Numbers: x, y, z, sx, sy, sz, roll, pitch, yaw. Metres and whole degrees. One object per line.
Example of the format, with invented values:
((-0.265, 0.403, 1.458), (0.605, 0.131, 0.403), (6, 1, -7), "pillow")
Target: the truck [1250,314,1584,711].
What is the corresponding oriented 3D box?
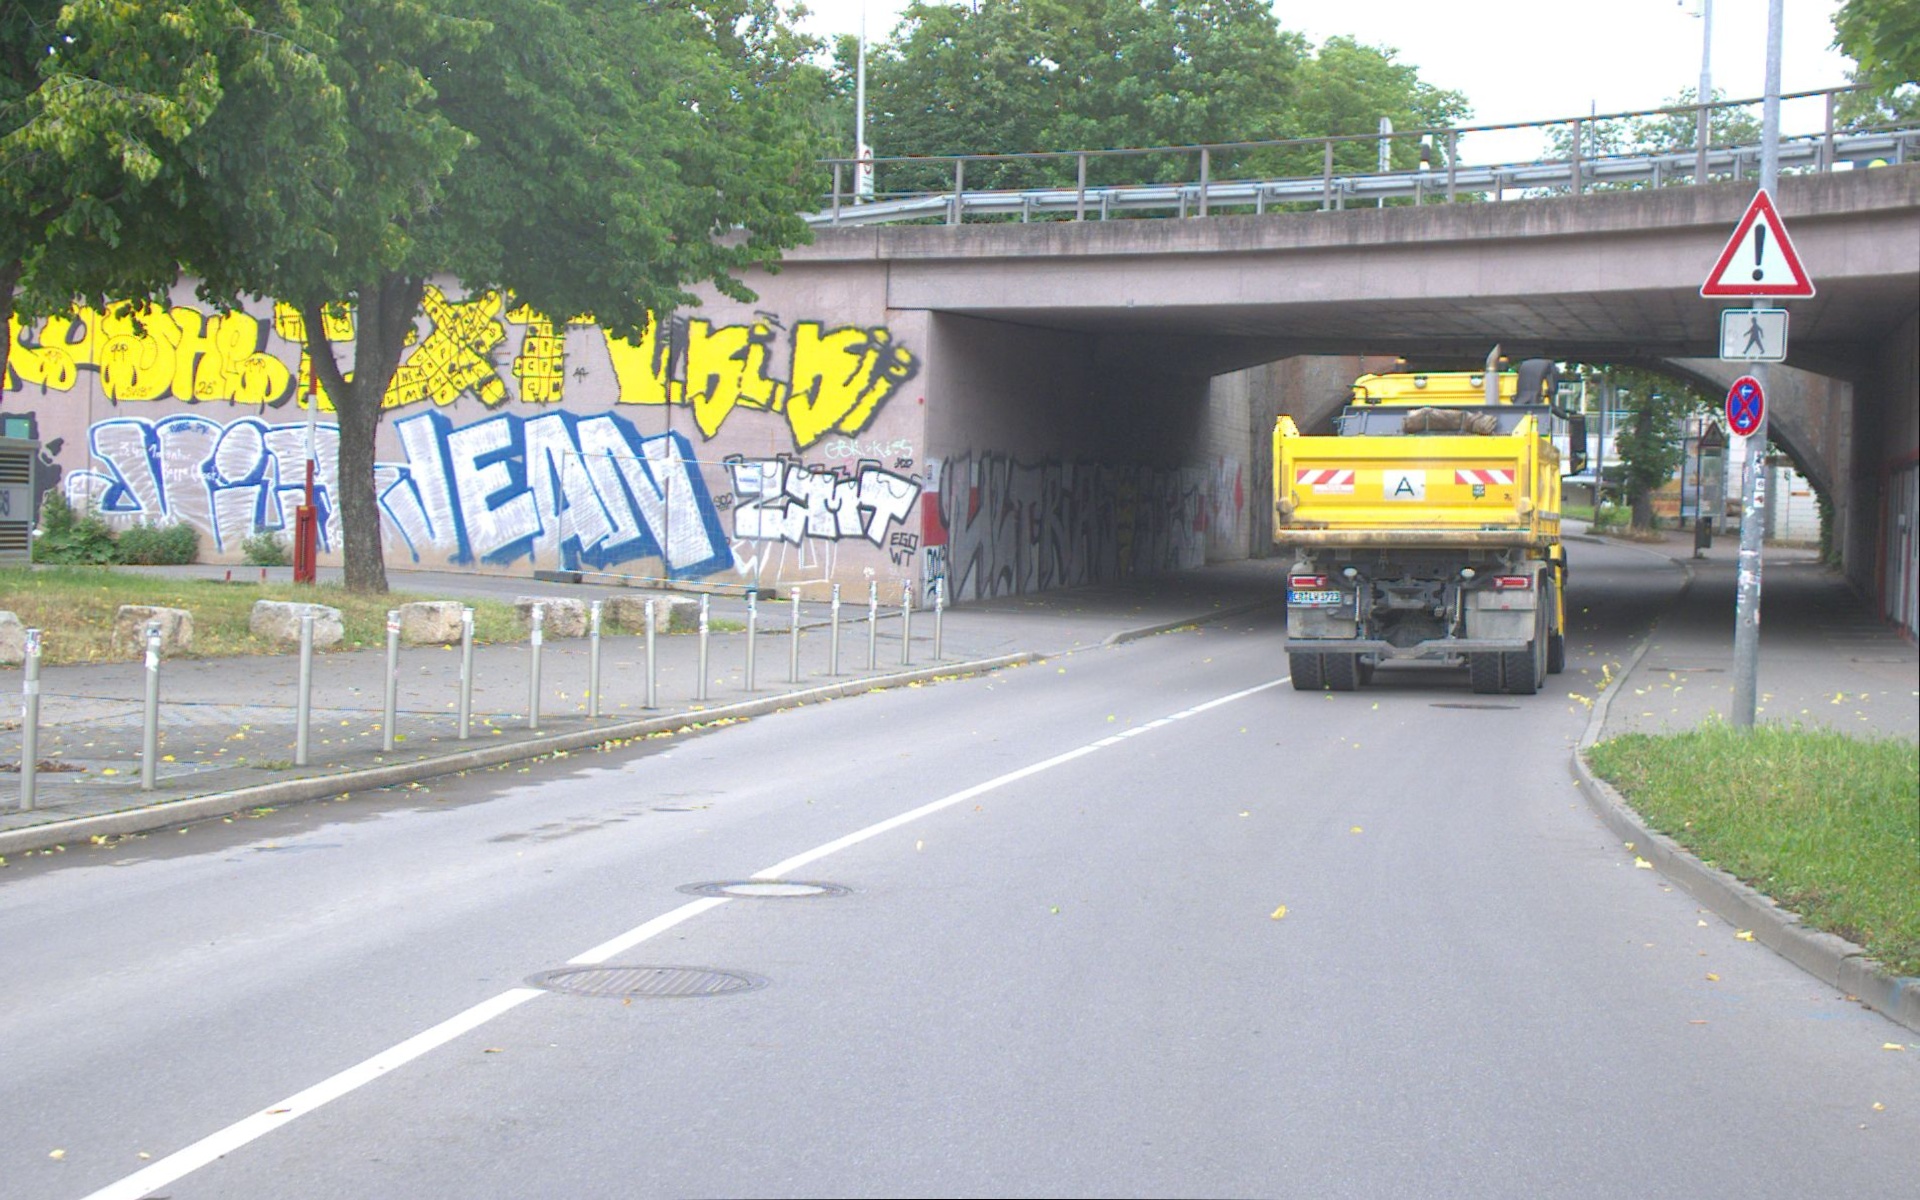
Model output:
((5.063, -0.875, 36.793), (2.759, 3.686, 7.876), (3, 1, 12), "truck")
